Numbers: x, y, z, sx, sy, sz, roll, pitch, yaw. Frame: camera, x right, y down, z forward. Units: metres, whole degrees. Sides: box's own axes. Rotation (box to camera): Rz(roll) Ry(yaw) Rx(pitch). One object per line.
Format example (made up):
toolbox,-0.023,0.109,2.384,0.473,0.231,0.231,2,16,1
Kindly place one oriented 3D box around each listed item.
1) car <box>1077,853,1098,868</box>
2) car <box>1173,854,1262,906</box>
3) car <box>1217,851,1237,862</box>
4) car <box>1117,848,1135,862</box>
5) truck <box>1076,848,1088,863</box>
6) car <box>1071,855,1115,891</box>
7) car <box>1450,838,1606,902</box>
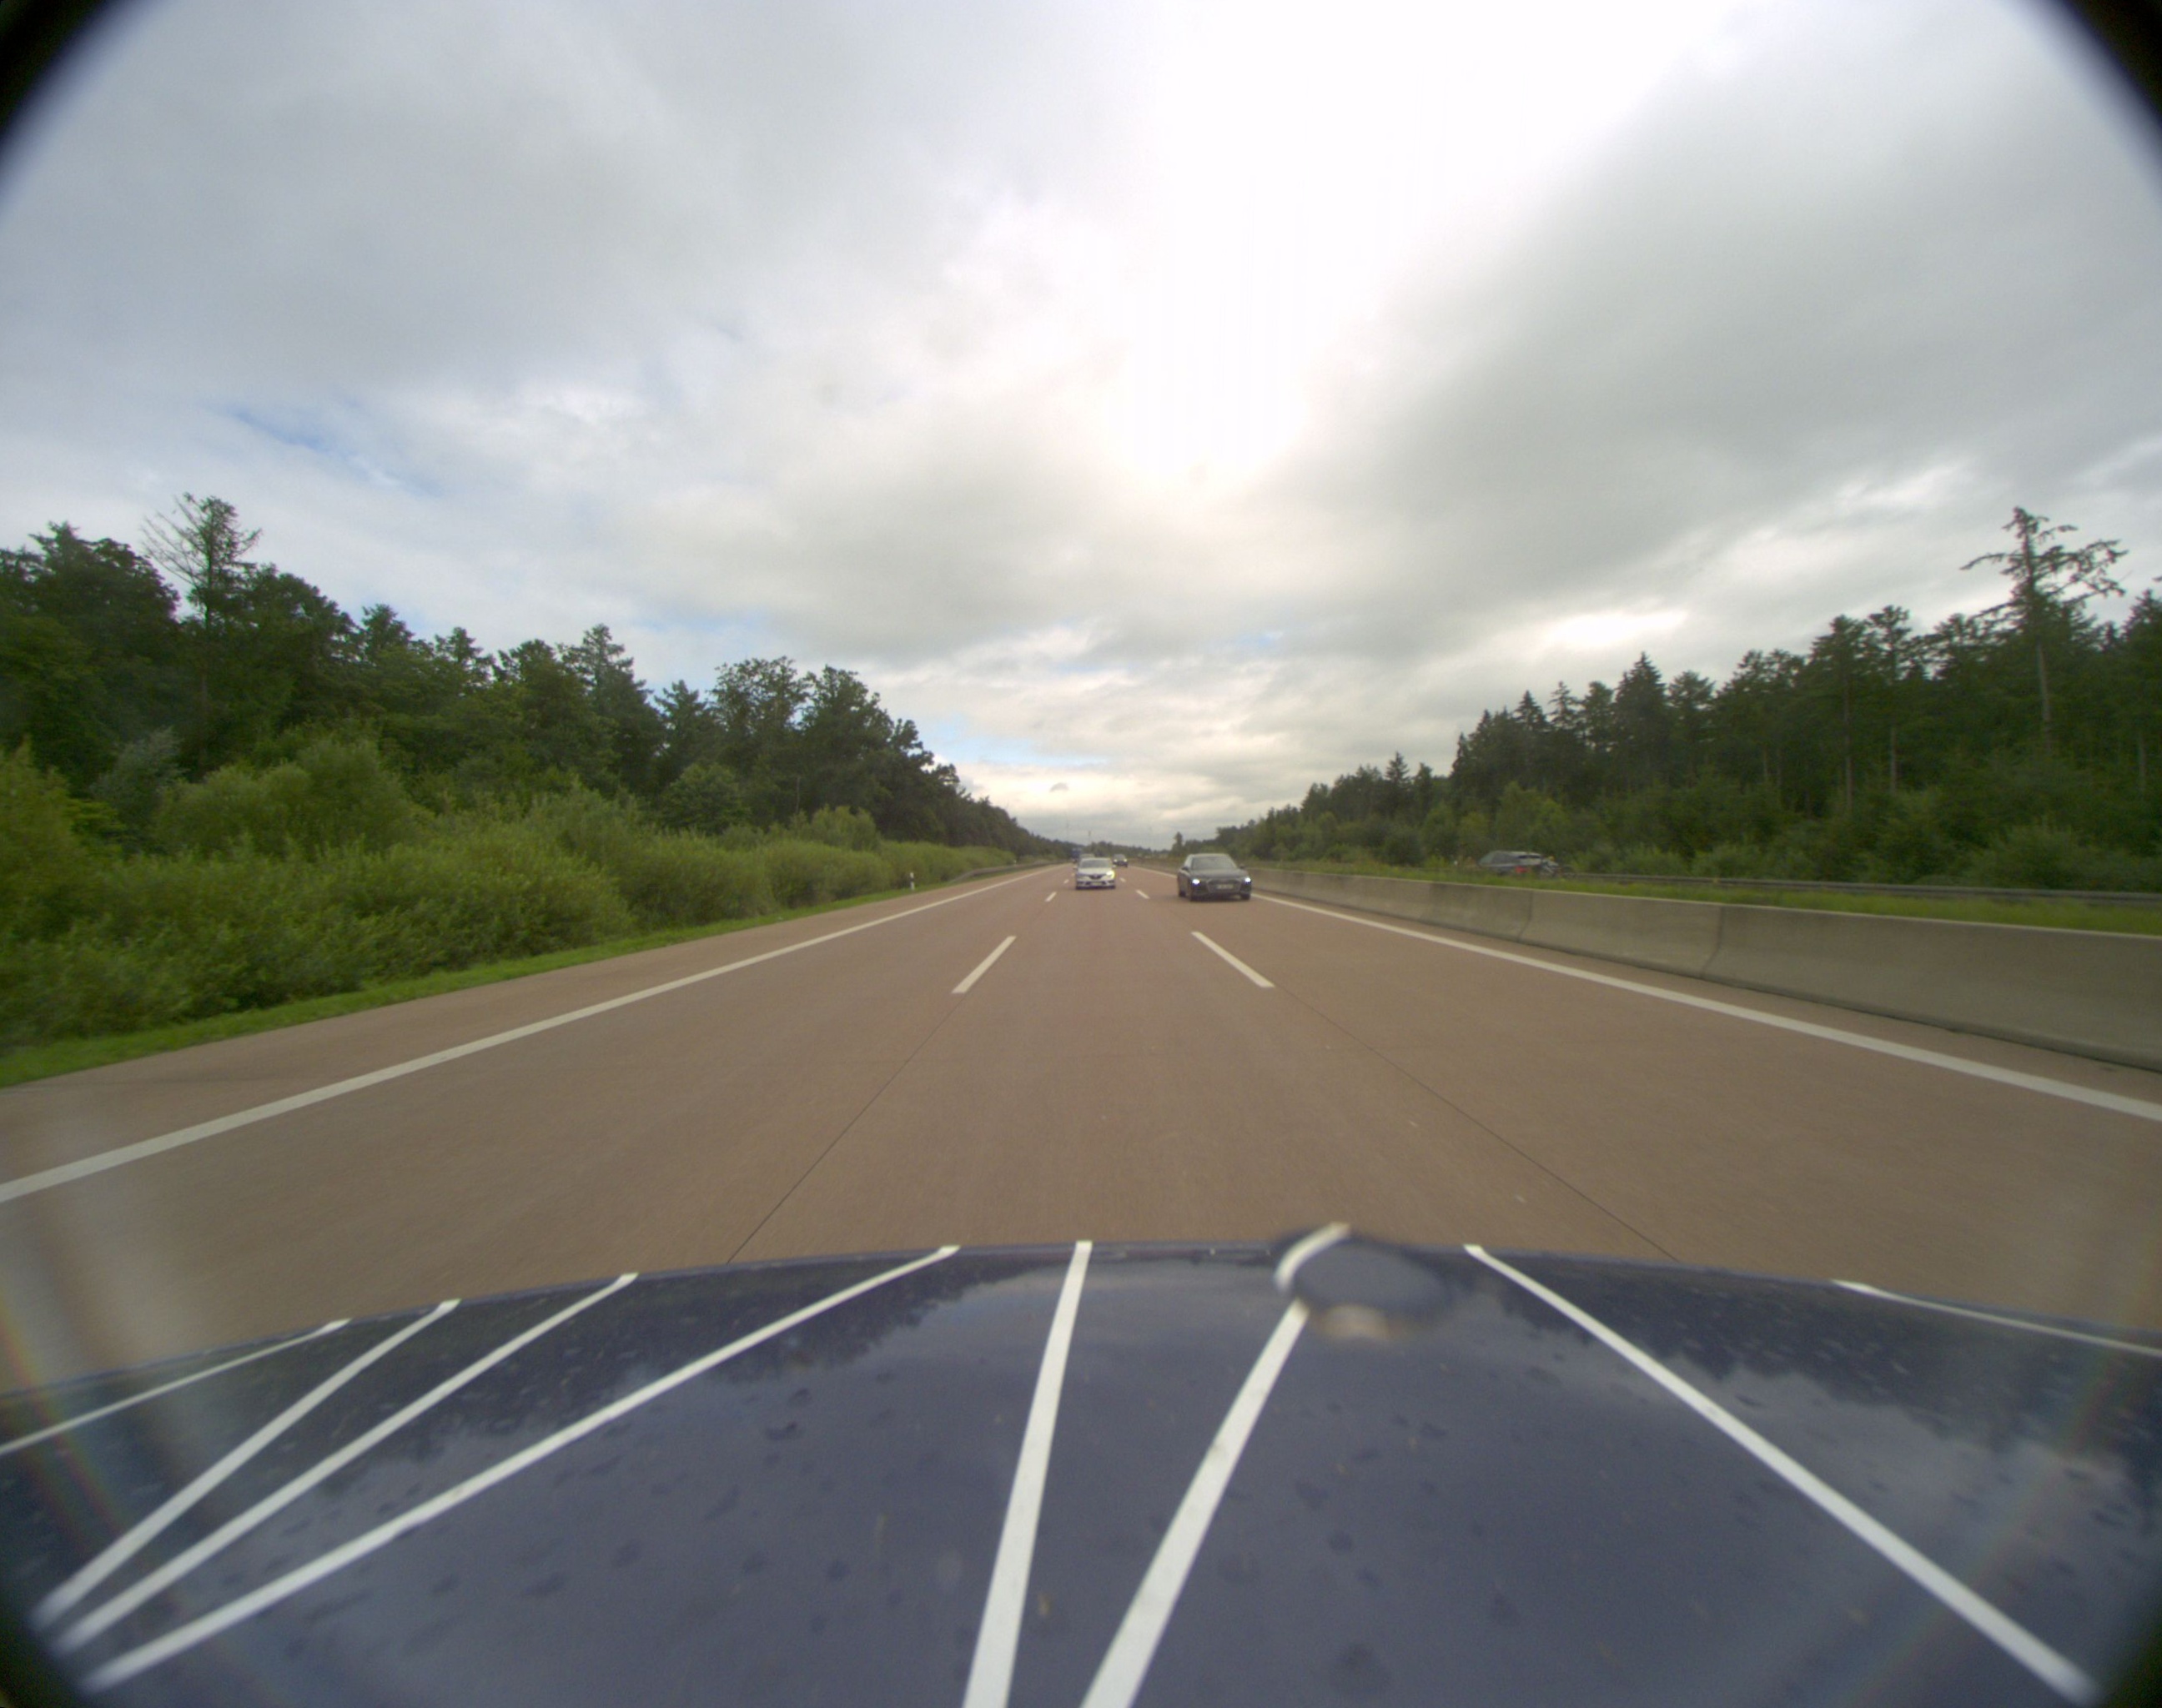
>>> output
car,0.689,0.651,78.216,1.986,1.499,4.052,-2,0,1
car,4.415,0.785,25.522,2.064,1.483,5.453,-2,0,1
car,21.136,0.342,110.170,1.998,1.671,4.887,0,0,1
car,5.842,0.148,99.312,1.998,1.689,5.252,-2,1,1
truck,0.265,0.333,203.799,2.956,3.705,7.950,-5,0,1
car,0.622,0.853,35.575,1.923,1.516,4.001,-2,0,3
car,16.162,0.522,27.989,2.352,2.018,5.854,-2,0,1
